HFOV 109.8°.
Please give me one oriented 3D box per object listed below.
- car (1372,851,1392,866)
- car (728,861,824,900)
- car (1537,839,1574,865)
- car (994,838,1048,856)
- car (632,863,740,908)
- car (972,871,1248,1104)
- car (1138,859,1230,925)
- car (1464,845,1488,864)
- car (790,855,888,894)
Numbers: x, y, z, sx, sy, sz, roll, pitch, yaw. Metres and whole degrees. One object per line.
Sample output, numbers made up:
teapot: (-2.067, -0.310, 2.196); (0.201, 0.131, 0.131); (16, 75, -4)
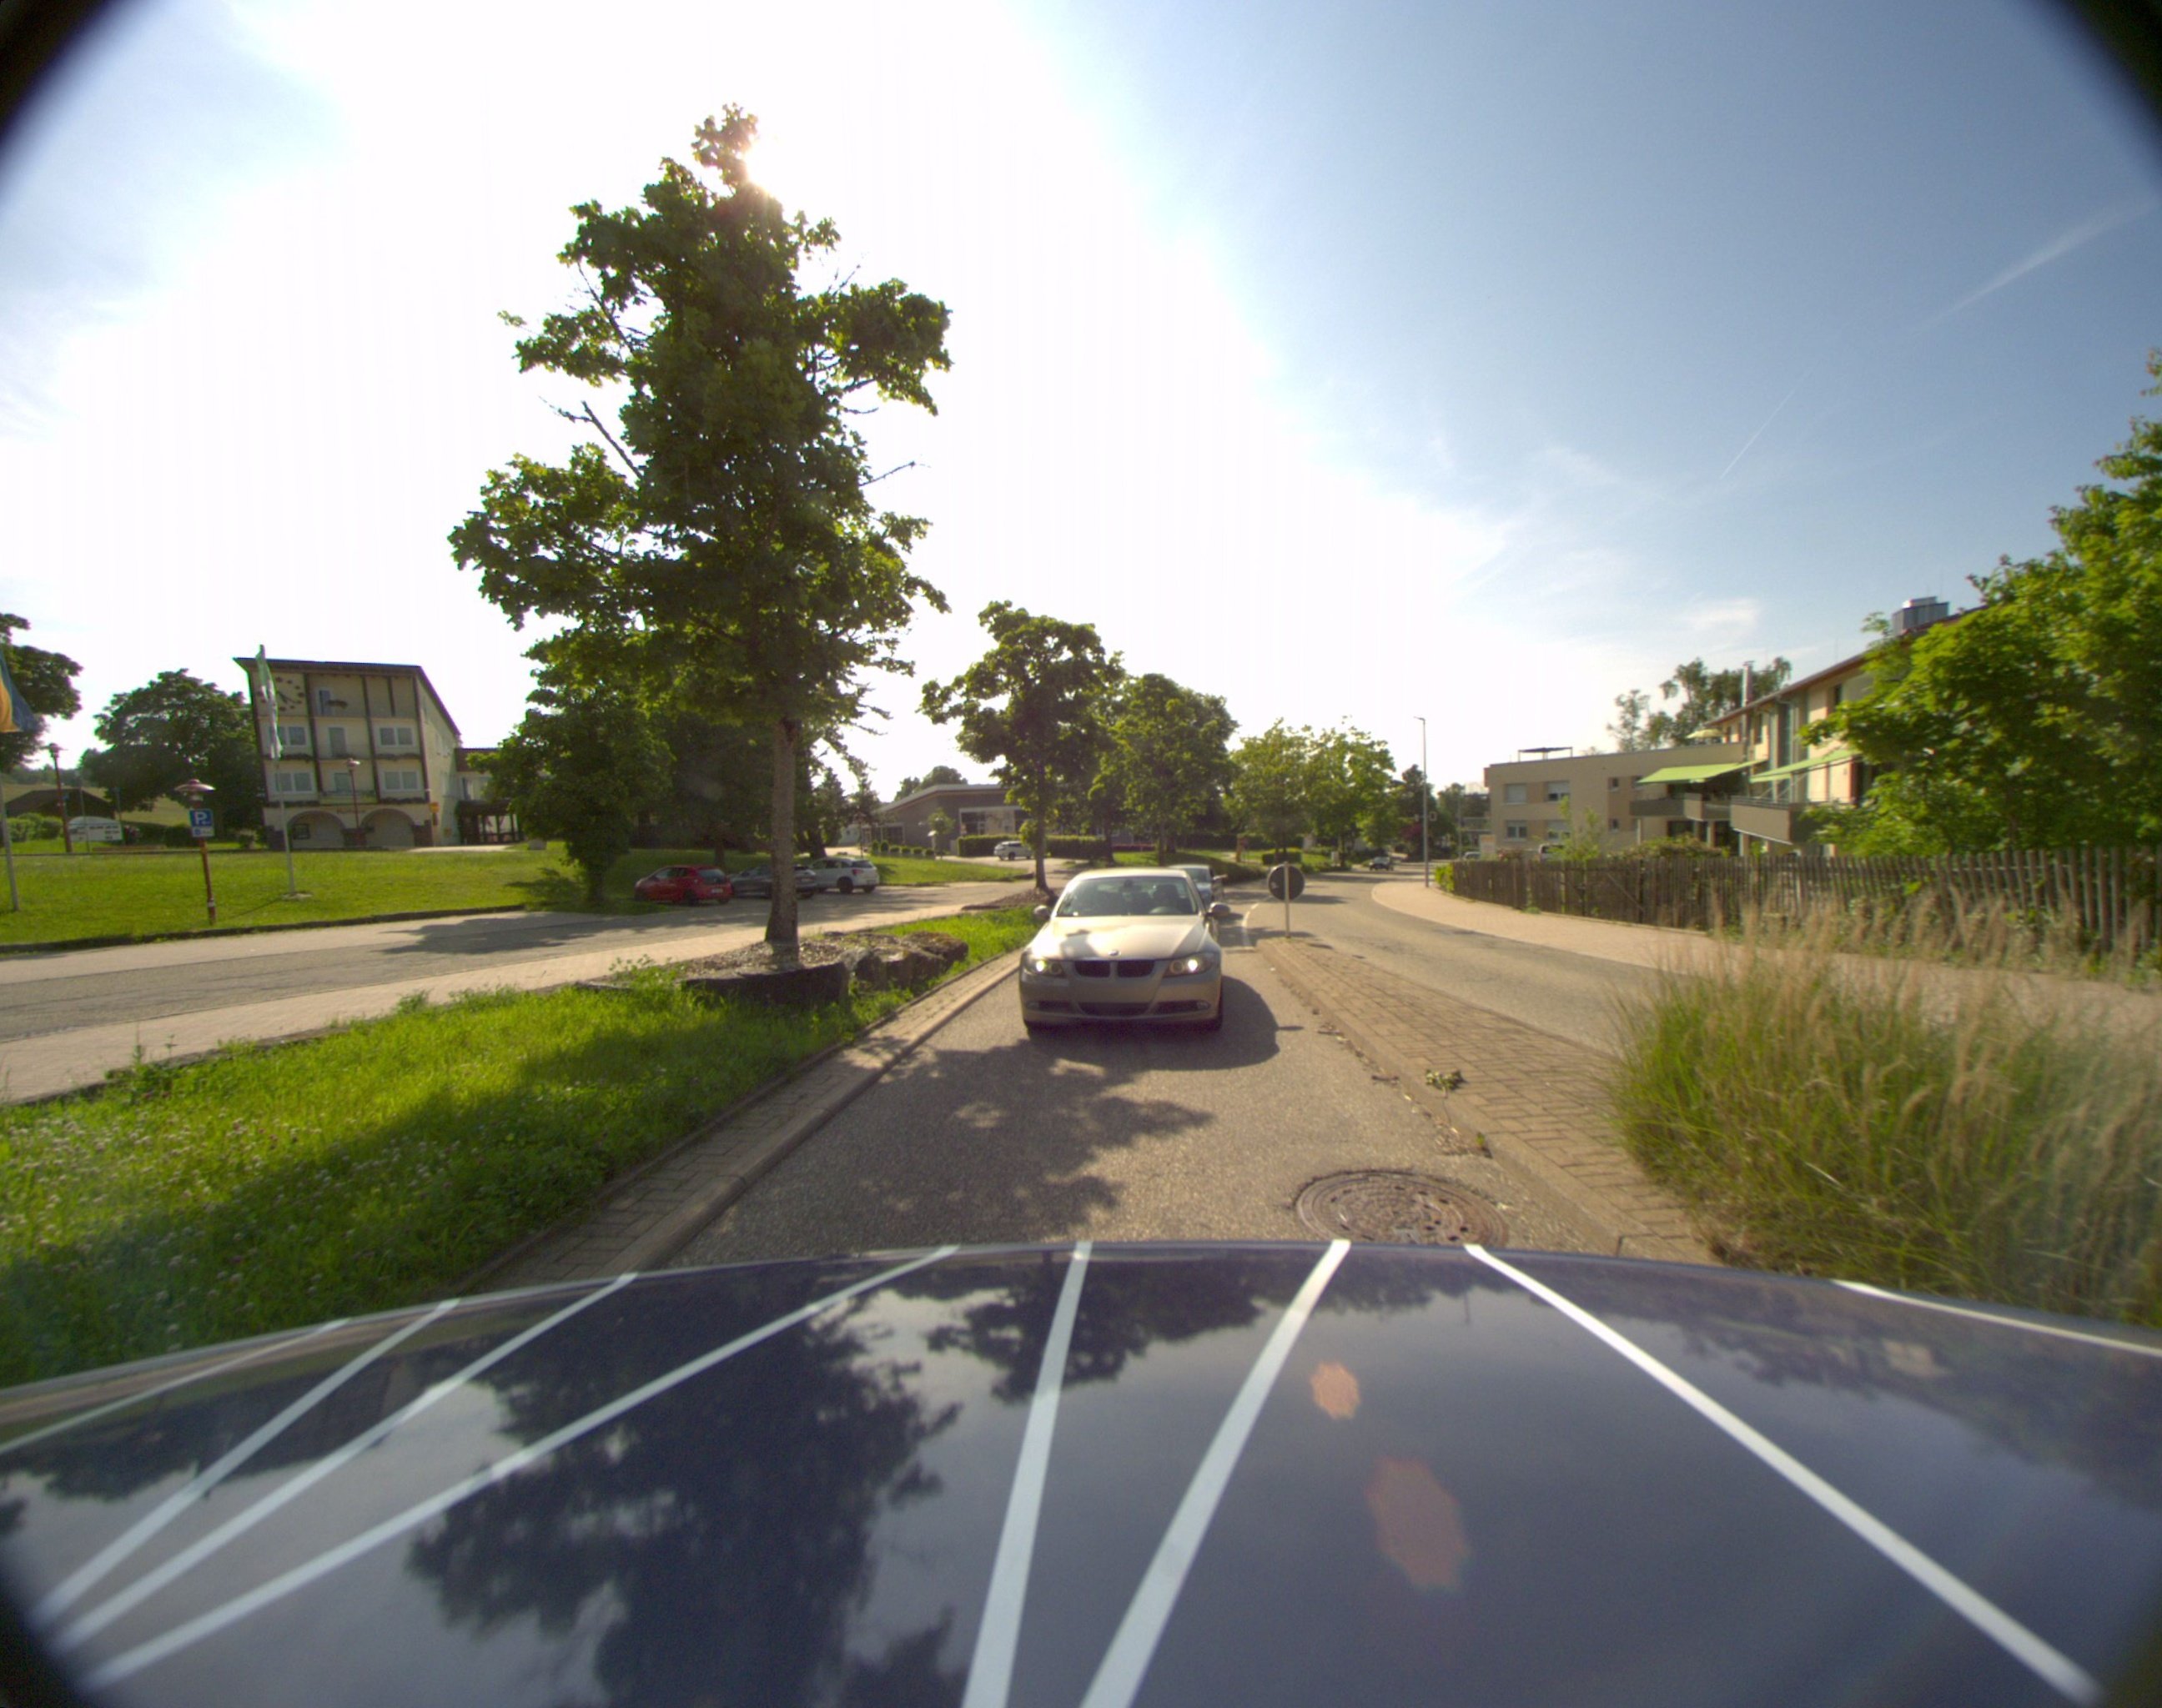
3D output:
car: (28.217, 0.400, 71.181); (1.475, 1.357, 2.807); (1, 1, 27)
car: (-12.285, 1.027, 30.569); (3.530, 1.419, 1.688); (1, 1, 27)
car: (33.197, -0.151, 53.264); (1.555, 1.789, 3.460); (1, 1, 21)
car: (-5.233, -0.584, 66.699); (4.377, 1.506, 1.789); (0, 1, -35)
car: (-14.361, 1.112, 27.657); (3.304, 1.396, 1.716); (1, 3, 22)
car: (0.483, 0.936, 7.340); (1.837, 1.360, 4.583); (-1, 1, 8)
car: (2.882, 0.932, 20.582); (1.900, 1.499, 4.004); (1, 1, 16)
car: (30.892, -0.003, 59.472); (1.351, 1.389, 3.318); (-2, 1, 24)
car: (-11.006, 0.879, 34.509); (3.989, 1.609, 2.004); (1, 1, 27)
